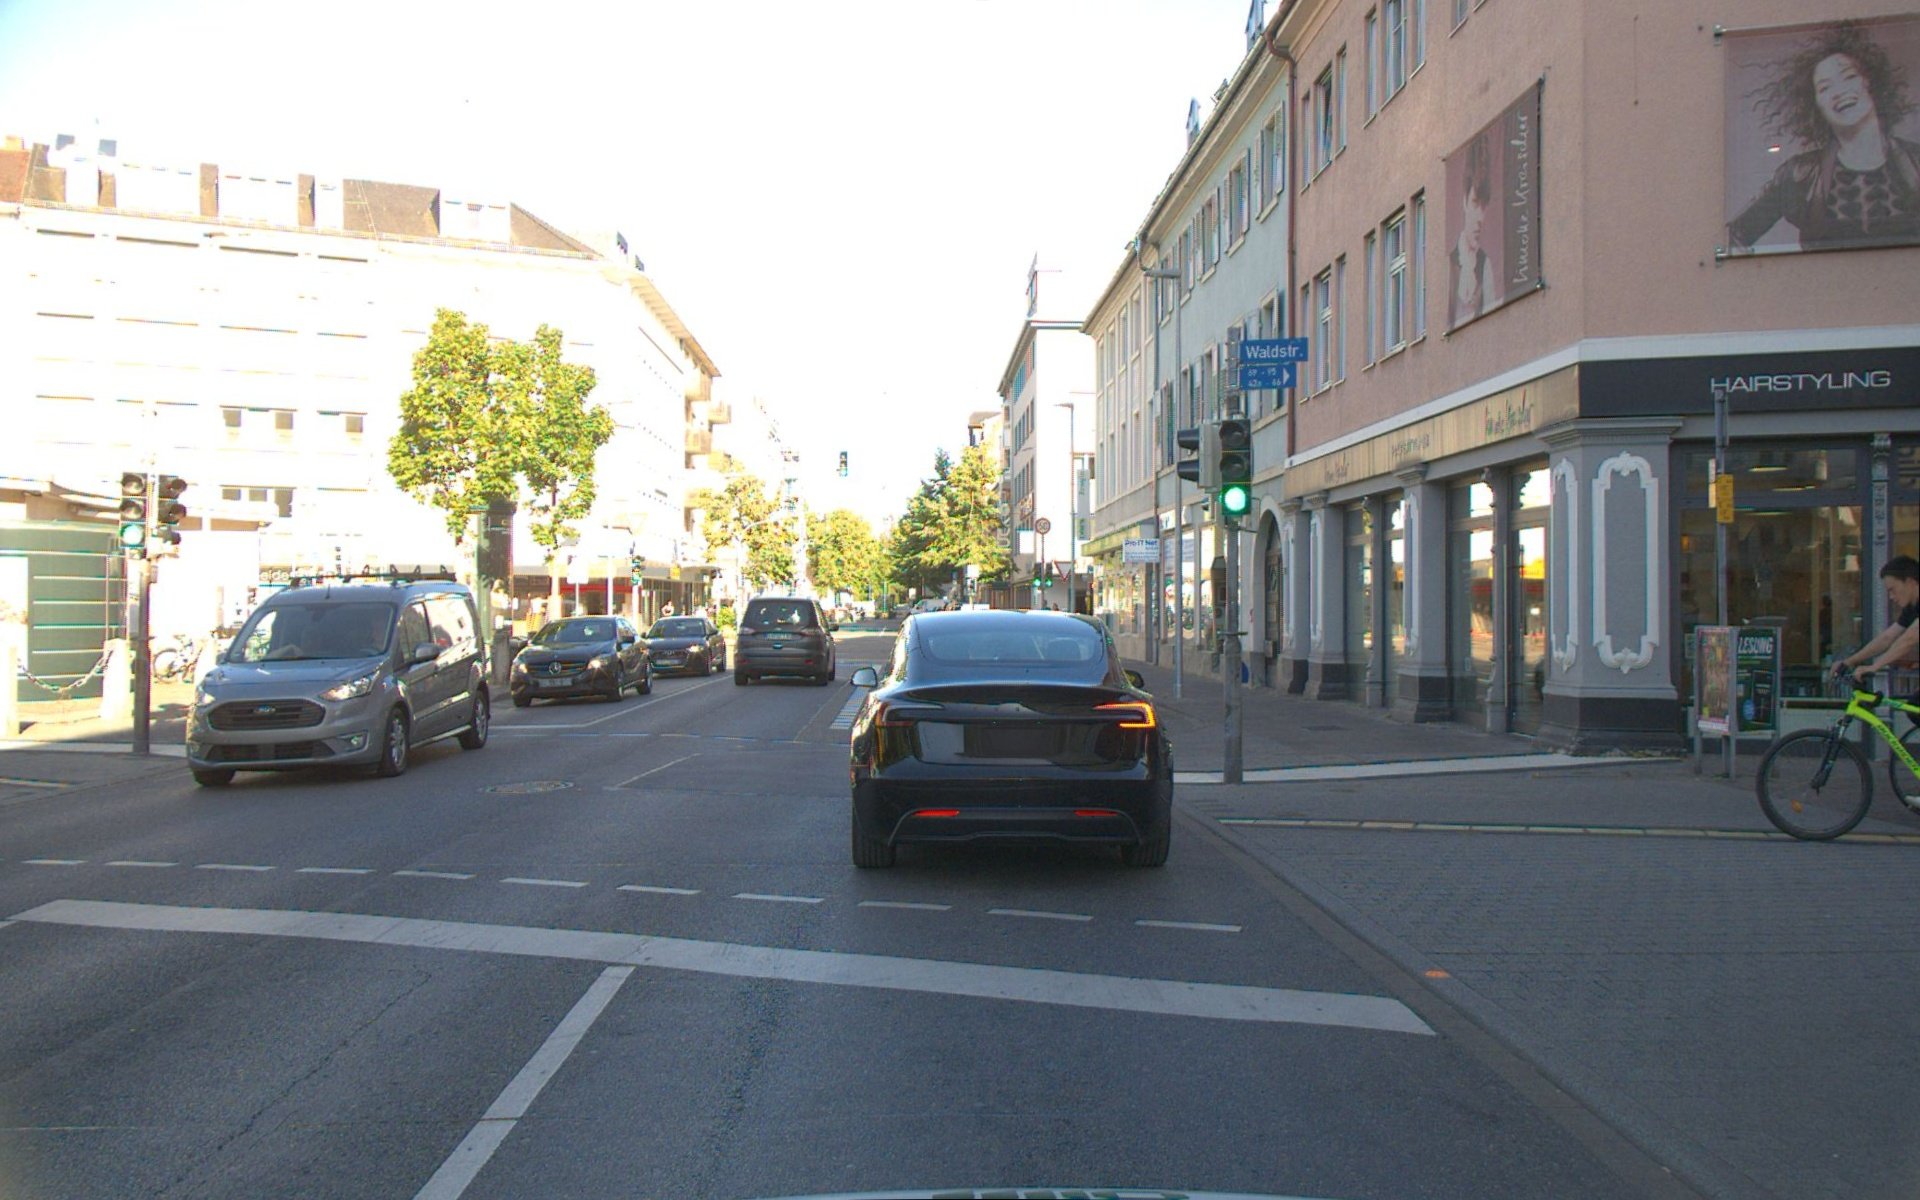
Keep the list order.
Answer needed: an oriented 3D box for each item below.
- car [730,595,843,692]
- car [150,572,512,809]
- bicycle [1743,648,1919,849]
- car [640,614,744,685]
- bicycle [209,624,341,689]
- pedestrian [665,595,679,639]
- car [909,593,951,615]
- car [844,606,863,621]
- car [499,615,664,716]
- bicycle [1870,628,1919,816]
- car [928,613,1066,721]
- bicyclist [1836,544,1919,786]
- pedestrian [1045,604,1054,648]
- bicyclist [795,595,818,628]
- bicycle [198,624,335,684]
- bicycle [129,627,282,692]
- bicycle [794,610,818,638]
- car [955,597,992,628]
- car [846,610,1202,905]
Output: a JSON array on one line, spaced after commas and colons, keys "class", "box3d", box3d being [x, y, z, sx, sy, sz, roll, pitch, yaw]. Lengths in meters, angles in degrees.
[{"class": "car", "box3d": [-3.446, 0.816, 33.672, 1.953, 1.803, 4.726, -1, 0, -2]}, {"class": "car", "box3d": [-5.933, 0.752, 16.279, 1.797, 1.877, 4.672, -4, 0, -2]}, {"class": "bicycle", "box3d": [5.927, 0.892, 10.159, 1.926, 1.169, 0.791, -1, -1, 19]}, {"class": "car", "box3d": [-6.491, 1.151, 40.486, 1.954, 1.461, 4.671, -4, 0, -3]}, {"class": "bicycle", "box3d": [-14.675, 1.197, 35.482, 2.429, 1.347, 0.921, 0, 0, -7]}, {"class": "pedestrian", "box3d": [-13.755, 0.811, 79.009, 0.563, 2.049, 0.827, 1, -1, -5]}, {"class": "car", "box3d": [-2.861, 0.387, 156.221, 3.907, 2.049, 1.999, 0, 0, -2]}, {"class": "car", "box3d": [-11.331, 1.421, 175.572, 1.954, 1.666, 3.997, 0, 0, -4]}, {"class": "car", "box3d": [-6.464, 1.069, 28.772, 1.954, 1.434, 4.671, -4, 0, -3]}, {"class": "bicycle", "box3d": [7.184, 0.820, 11.130, 1.756, 1.243, 0.681, 0, 0, 18]}, {"class": "car", "box3d": [0.509, 0.999, 26.397, 1.953, 1.538, 4.173, 0, 0, -2]}, {"class": "bicyclist", "box3d": [5.957, 0.385, 10.152, 0.903, 1.439, 0.806, 0, 0, 19]}, {"class": "pedestrian", "box3d": [3.157, 0.906, 58.334, 0.263, 1.538, 0.278, 0, 0, -5]}, {"class": "bicyclist", "box3d": [-7.806, 0.582, 84.187, 1.104, 1.657, 0.964, 0, 0, -4]}, {"class": "bicycle", "box3d": [-14.057, 1.082, 33.563, 2.412, 1.176, 0.842, 0, 0, -3]}, {"class": "bicycle", "box3d": [-14.136, 1.114, 31.029, 2.455, 1.176, 0.842, 0, 0, -3]}, {"class": "bicycle", "box3d": [-7.791, 1.209, 84.093, 1.089, 1.368, 3.997, 0, 0, -4]}, {"class": "car", "box3d": [0.712, 0.675, 89.460, 1.953, 1.657, 3.999, 0, 0, -1]}, {"class": "car", "box3d": [0.294, 0.813, 10.407, 1.810, 1.480, 3.999, 0, 0, -1]}]
